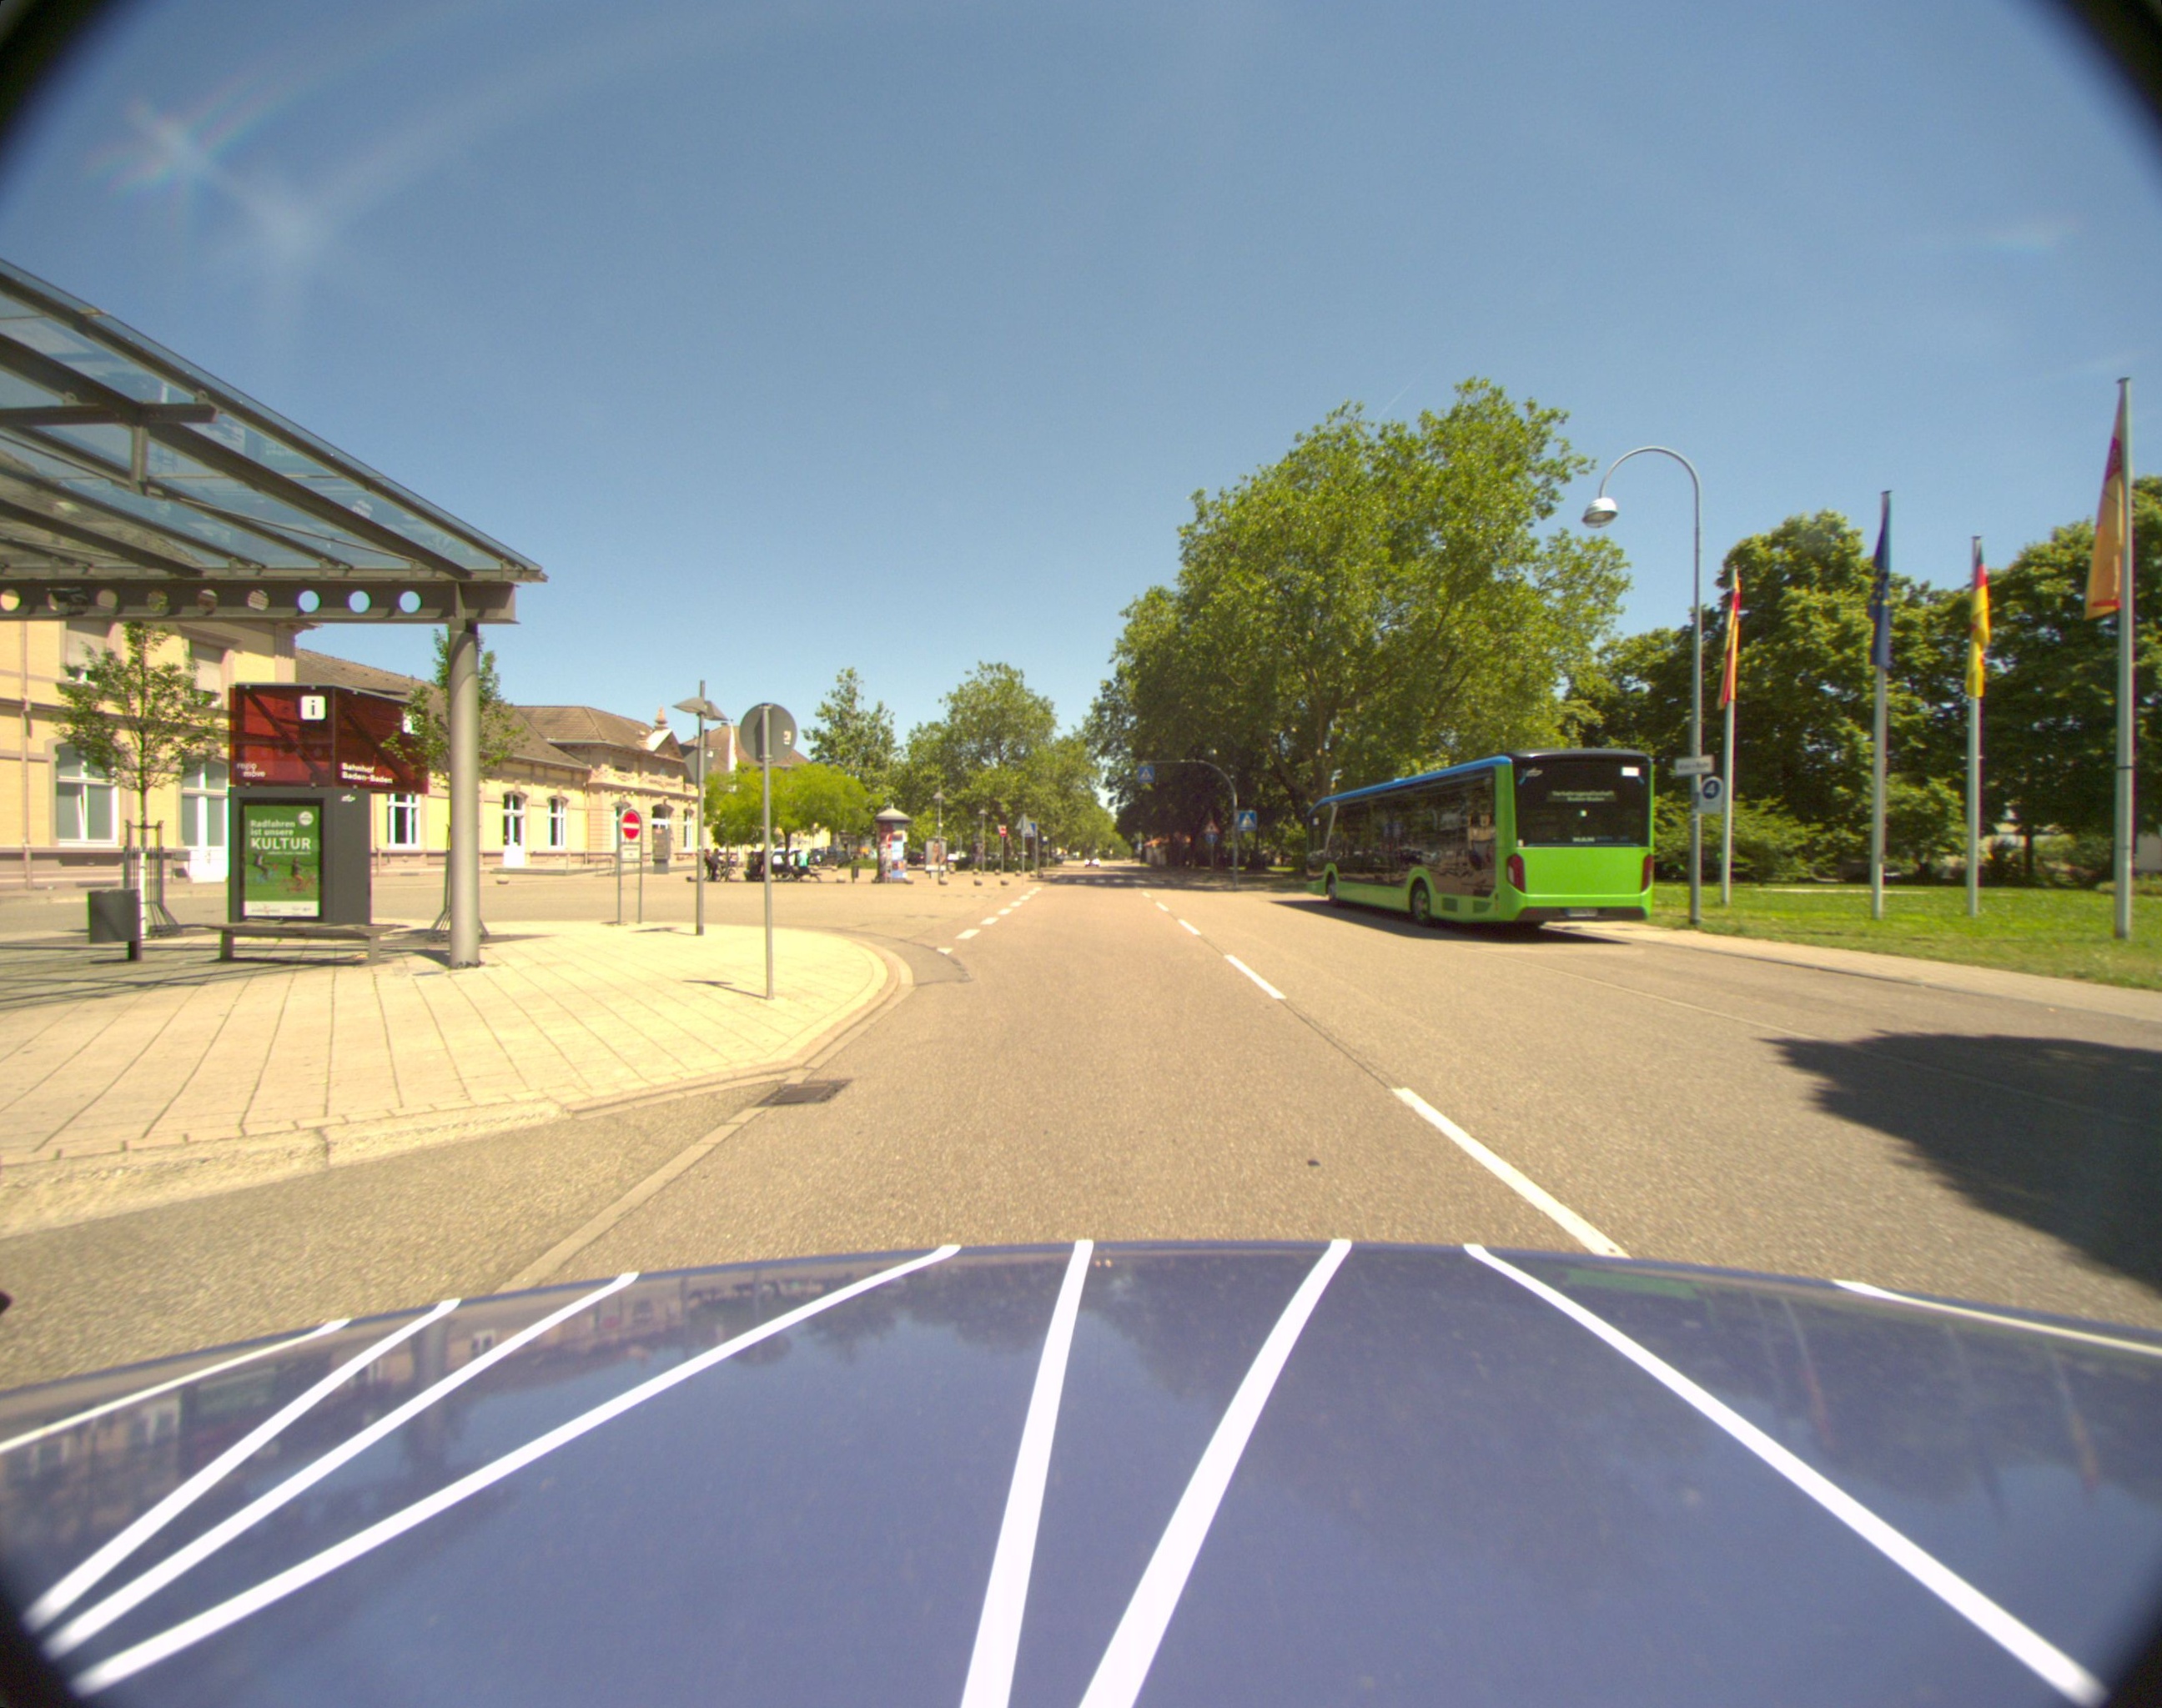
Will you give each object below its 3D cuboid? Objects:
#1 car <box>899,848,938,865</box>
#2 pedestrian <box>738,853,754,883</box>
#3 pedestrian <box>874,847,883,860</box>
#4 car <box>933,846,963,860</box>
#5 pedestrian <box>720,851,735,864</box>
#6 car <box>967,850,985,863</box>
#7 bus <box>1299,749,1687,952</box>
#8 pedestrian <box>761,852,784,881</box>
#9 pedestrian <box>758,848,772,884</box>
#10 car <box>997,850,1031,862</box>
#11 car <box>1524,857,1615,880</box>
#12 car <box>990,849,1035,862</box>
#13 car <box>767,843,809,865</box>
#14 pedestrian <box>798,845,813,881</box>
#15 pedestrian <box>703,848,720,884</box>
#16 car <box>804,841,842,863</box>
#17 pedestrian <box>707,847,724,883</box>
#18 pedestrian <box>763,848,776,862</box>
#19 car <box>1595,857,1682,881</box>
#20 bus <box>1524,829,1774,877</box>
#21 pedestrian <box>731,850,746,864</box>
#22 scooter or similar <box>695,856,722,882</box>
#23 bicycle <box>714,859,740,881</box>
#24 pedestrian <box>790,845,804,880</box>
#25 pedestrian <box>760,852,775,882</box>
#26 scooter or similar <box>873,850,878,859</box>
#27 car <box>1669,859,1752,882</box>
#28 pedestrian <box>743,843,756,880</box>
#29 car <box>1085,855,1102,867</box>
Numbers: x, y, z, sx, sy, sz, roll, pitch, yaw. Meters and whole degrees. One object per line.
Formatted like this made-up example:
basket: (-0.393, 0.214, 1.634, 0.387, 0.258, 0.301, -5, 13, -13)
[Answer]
car: (-16.821, 0.225, 78.448, 4.515, 1.534, 1.804, 3, 3, 44)
pedestrian: (-15.347, 0.642, 34.797, 0.600, 1.356, 0.598, 0, 1, -27)
pedestrian: (-23.159, -0.039, 86.882, 0.689, 1.416, 0.803, 1, 1, 37)
car: (-16.636, -0.089, 94.937, 1.804, 1.596, 4.051, -2, 3, -44)
pedestrian: (-30.855, 0.303, 66.274, 0.881, 1.073, 0.851, 2, 1, -3)
car: (-15.803, 0.330, 114.622, 1.741, 1.882, 3.992, 0, 0, -22)
bus: (8.389, -0.077, 18.424, 2.816, 3.264, 12.424, 0, 0, 1)
pedestrian: (-14.776, 0.587, 36.341, 0.914, 1.378, 0.942, 0, 1, -29)
pedestrian: (-15.440, 0.597, 37.140, 0.586, 1.730, 0.598, 0, 1, -24)
car: (-8.404, 0.239, 95.374, 3.882, 1.452, 1.632, 0, 1, -27)
car: (32.017, 0.940, 49.887, 4.766, 1.431, 1.756, 0, 1, 1)
car: (-7.658, 0.175, 84.900, 4.782, 1.409, 1.783, 0, 1, -18)
car: (-25.971, -0.010, 67.435, 1.814, 1.855, 5.138, -1, 0, -1)
pedestrian: (-13.560, 0.434, 37.399, 0.694, 1.753, 0.584, 0, 1, -17)
pedestrian: (-17.216, 0.554, 35.420, 0.555, 1.675, 0.587, 0, 1, -11)
car: (-25.379, -0.151, 74.895, 2.093, 2.111, 5.823, -1, 0, -4)
pedestrian: (-17.337, 0.526, 36.043, 0.619, 1.675, 0.590, 0, 1, -11)
pedestrian: (-30.938, 0.104, 75.421, 0.881, 1.363, 0.851, 2, 1, -3)
car: (36.279, 0.980, 49.522, 4.372, 1.484, 1.760, 0, 1, 1)
bus: (41.330, -0.101, 55.639, 15.937, 3.276, 2.877, 0, 1, 1)
pedestrian: (-29.914, 0.286, 66.315, 0.881, 1.155, 0.851, 2, 1, -3)
scooter or similar: (-16.874, 0.675, 34.430, 1.028, 1.133, 0.294, 0, 1, -6)
bicycle: (-17.562, 0.775, 37.722, 0.421, 1.054, 1.948, 0, 1, -1)
pedestrian: (-14.187, 0.442, 37.953, 0.628, 1.730, 0.547, 0, 1, -24)
pedestrian: (-14.507, 0.607, 35.147, 0.600, 1.356, 0.598, 0, 1, -27)
scooter or similar: (-23.621, 0.034, 87.341, 0.436, 1.095, 0.404, 1, 1, 38)
car: (40.884, 1.059, 49.433, 3.914, 1.484, 1.760, 0, 1, 1)
pedestrian: (-15.827, 0.360, 36.262, 0.513, 1.730, 0.569, 0, 1, -28)
car: (1.533, 0.830, 93.101, 1.661, 1.368, 3.449, -3, 0, -6)
